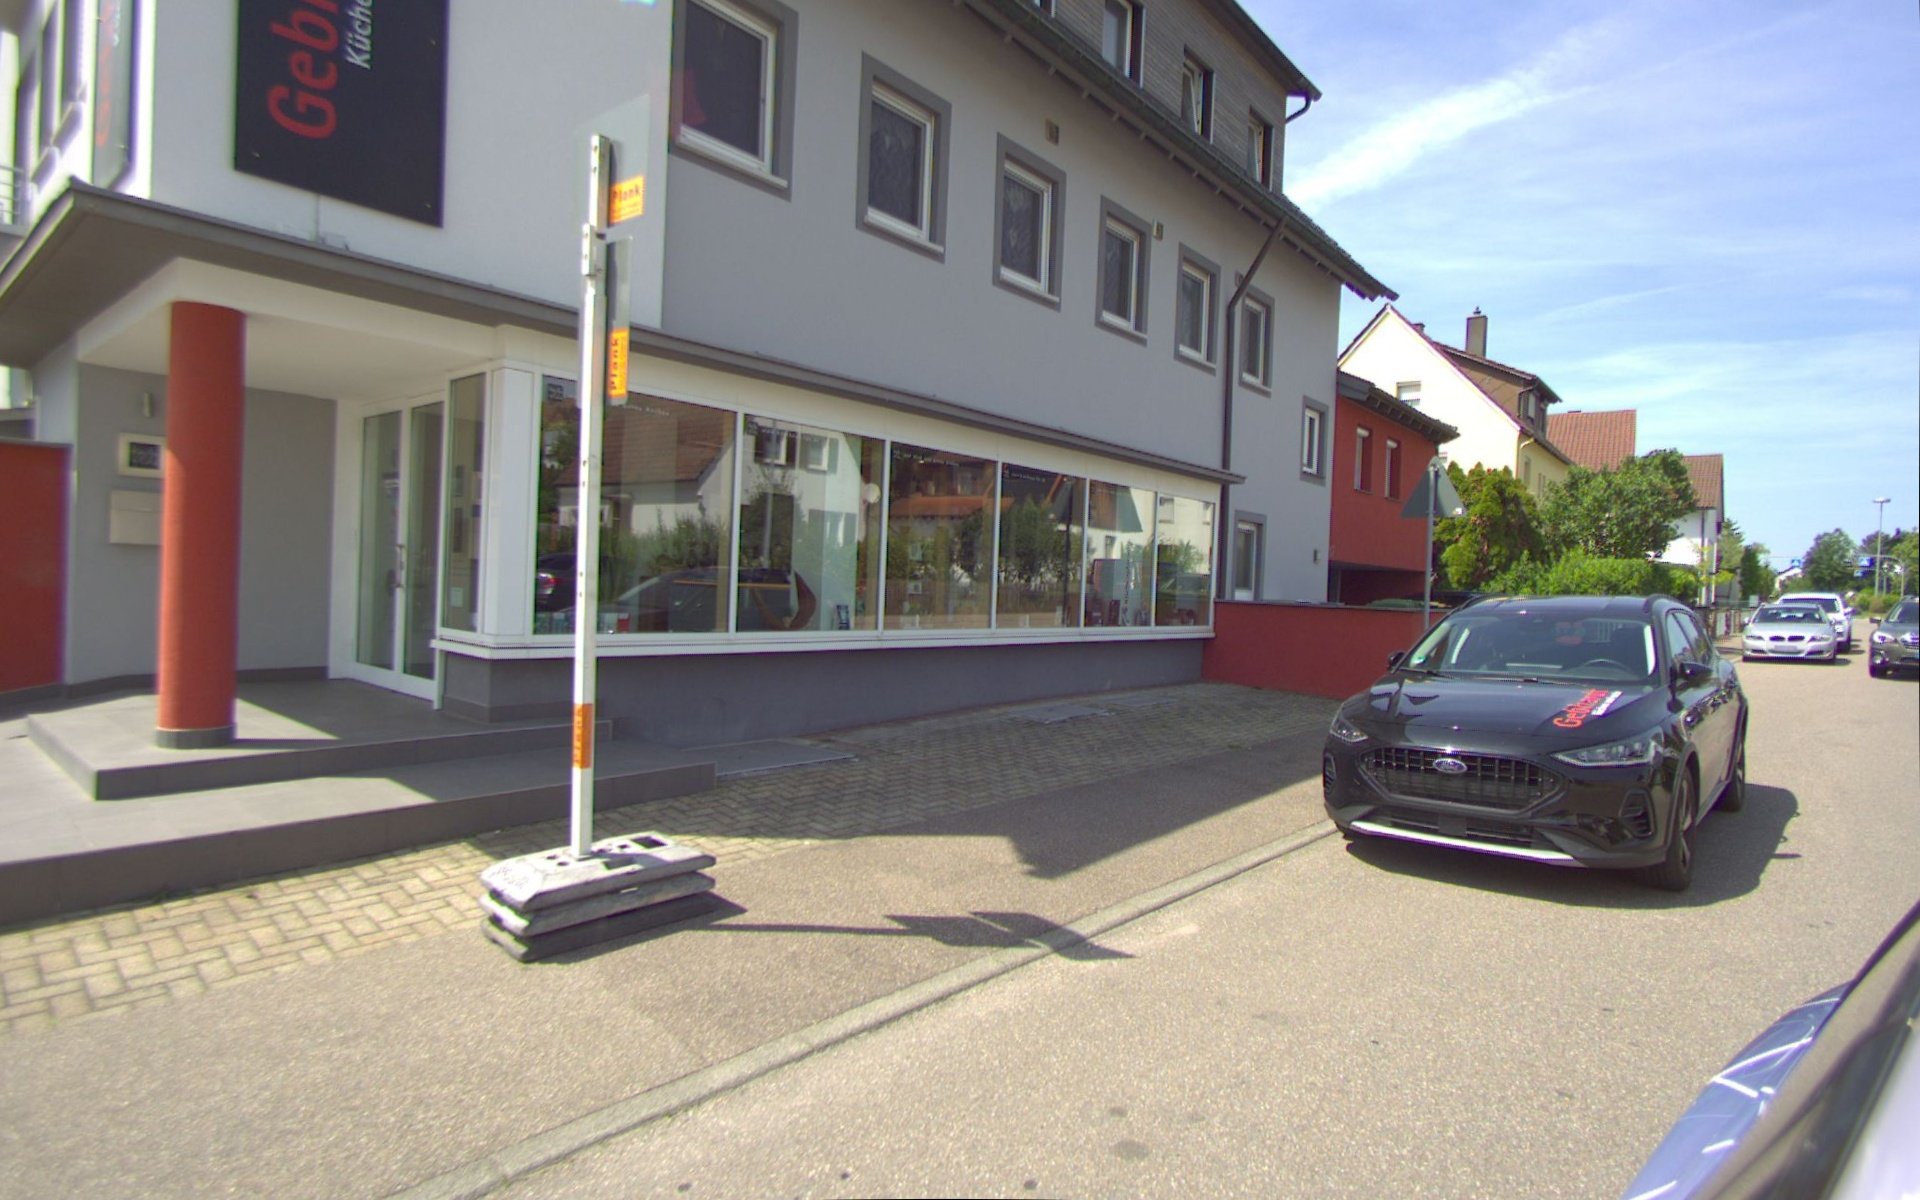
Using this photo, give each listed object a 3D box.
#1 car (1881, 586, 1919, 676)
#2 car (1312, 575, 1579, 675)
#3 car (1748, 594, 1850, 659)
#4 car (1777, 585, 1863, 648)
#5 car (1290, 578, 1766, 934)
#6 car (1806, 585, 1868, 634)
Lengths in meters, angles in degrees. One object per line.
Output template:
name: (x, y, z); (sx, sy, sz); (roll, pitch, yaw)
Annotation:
car: (19.508, 0.577, 19.855); (4.252, 1.668, 1.835); (0, 1, -44)
car: (9.511, 0.538, 20.047); (4.362, 1.690, 1.848); (-5, -3, 42)
car: (20.663, 0.582, 24.875); (1.750, 1.439, 4.353); (0, 0, 42)
car: (25.034, 0.430, 29.412); (1.735, 1.683, 4.270); (0, 0, 43)
car: (3.937, 0.659, 6.598); (1.761, 1.546, 4.338); (1, 1, 43)
car: (33.343, 0.338, 38.440); (1.665, 1.771, 3.993); (0, 0, 43)
